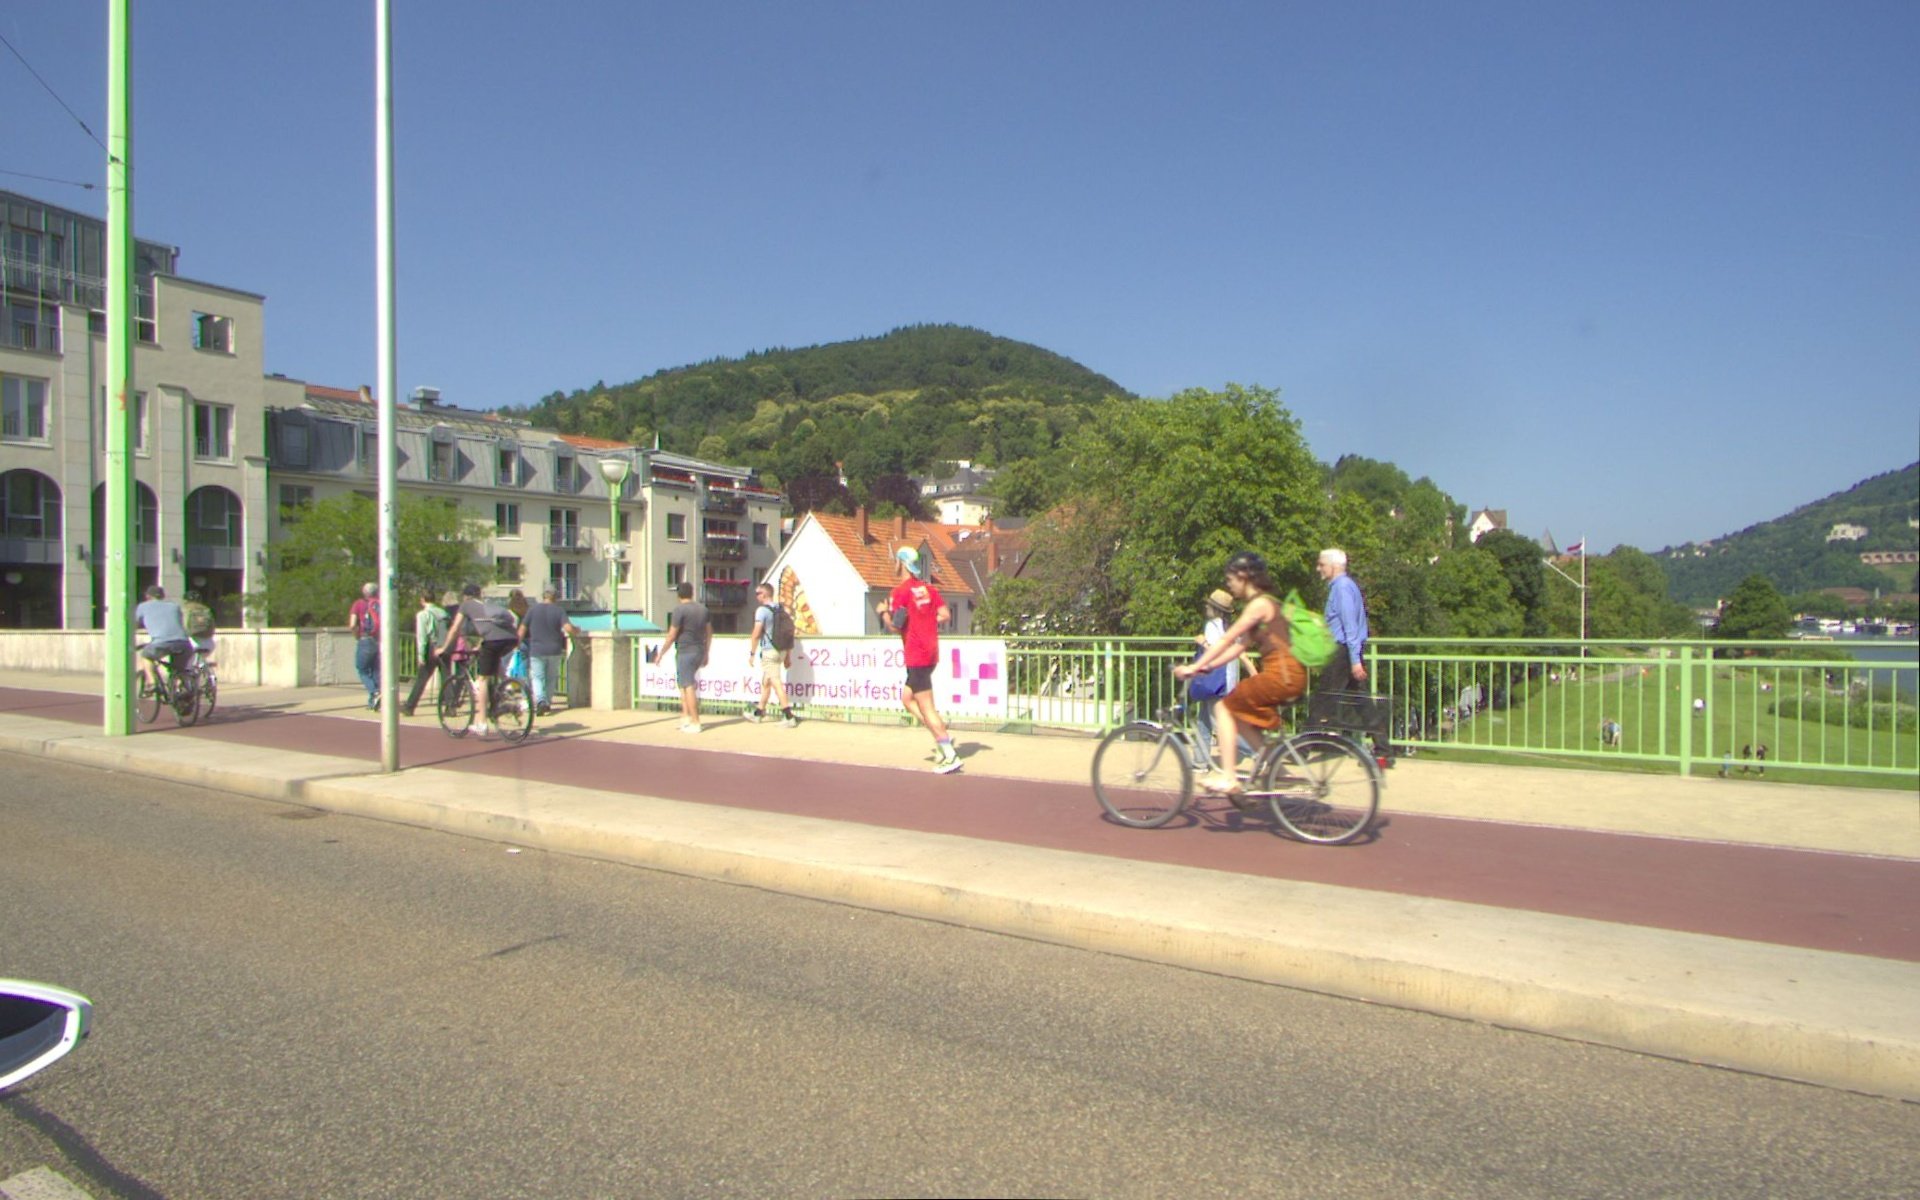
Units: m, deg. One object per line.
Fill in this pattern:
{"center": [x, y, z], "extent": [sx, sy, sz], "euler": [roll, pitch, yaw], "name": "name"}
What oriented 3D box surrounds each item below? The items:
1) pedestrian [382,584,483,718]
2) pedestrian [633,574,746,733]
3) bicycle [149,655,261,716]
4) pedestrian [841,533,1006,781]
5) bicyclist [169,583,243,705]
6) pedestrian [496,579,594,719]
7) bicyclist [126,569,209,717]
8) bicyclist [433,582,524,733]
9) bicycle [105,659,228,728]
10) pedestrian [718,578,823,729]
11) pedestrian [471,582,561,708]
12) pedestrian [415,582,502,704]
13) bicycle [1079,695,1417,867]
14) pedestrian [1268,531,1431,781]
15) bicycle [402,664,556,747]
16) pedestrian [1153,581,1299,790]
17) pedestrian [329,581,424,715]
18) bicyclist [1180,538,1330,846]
{"center": [-7.178, 0.668, 13.629], "extent": [1.057, 1.741, 0.753], "euler": [0, 2, 32], "name": "pedestrian"}
{"center": [-3.114, 0.590, 11.544], "extent": [1.001, 1.741, 0.737], "euler": [0, 2, 32], "name": "pedestrian"}
{"center": [-10.782, 1.201, 14.283], "extent": [1.838, 0.776, 0.593], "euler": [-1, 1, 30], "name": "bicycle"}
{"center": [-0.304, 0.455, 8.505], "extent": [1.111, 1.950, 0.809], "euler": [0, 1, 32], "name": "pedestrian"}
{"center": [-10.709, 0.611, 14.218], "extent": [0.691, 1.672, 0.586], "euler": [0, 1, 30], "name": "bicyclist"}
{"center": [-5.694, 0.633, 13.724], "extent": [0.968, 1.801, 1.199], "euler": [-2, 1, -35], "name": "pedestrian"}
{"center": [-10.203, 0.538, 12.896], "extent": [0.691, 1.844, 0.586], "euler": [0, 1, 30], "name": "bicyclist"}
{"center": [-5.255, 0.606, 10.933], "extent": [0.691, 1.579, 0.586], "euler": [0, 1, 30], "name": "bicyclist"}
{"center": [-10.279, 1.183, 12.957], "extent": [1.838, 0.776, 0.593], "euler": [-1, 1, 30], "name": "bicycle"}
{"center": [-2.280, 0.621, 12.060], "extent": [1.001, 1.741, 0.738], "euler": [0, 1, 32], "name": "pedestrian"}
{"center": [-6.472, 0.631, 14.605], "extent": [1.002, 1.770, 0.737], "euler": [0, 2, 34], "name": "pedestrian"}
{"center": [-7.663, 0.637, 15.315], "extent": [1.001, 1.801, 0.737], "euler": [0, 2, 32], "name": "pedestrian"}
{"center": [1.669, 1.012, 5.947], "extent": [1.840, 0.776, 0.592], "euler": [-1, 1, 33], "name": "bicycle"}
{"center": [3.276, 0.438, 8.401], "extent": [1.121, 1.923, 0.924], "euler": [0, 1, 32], "name": "pedestrian"}
{"center": [-5.272, 1.123, 10.948], "extent": [1.804, 0.776, 0.593], "euler": [-1, 1, 30], "name": "bicycle"}
{"center": [2.139, 0.636, 8.014], "extent": [0.919, 1.550, 0.827], "euler": [0, 1, 32], "name": "pedestrian"}
{"center": [-8.266, 0.660, 14.198], "extent": [1.001, 1.826, 0.737], "euler": [0, 2, 32], "name": "pedestrian"}
{"center": [1.737, 0.505, 5.881], "extent": [0.692, 1.672, 0.603], "euler": [0, 1, 33], "name": "bicyclist"}
